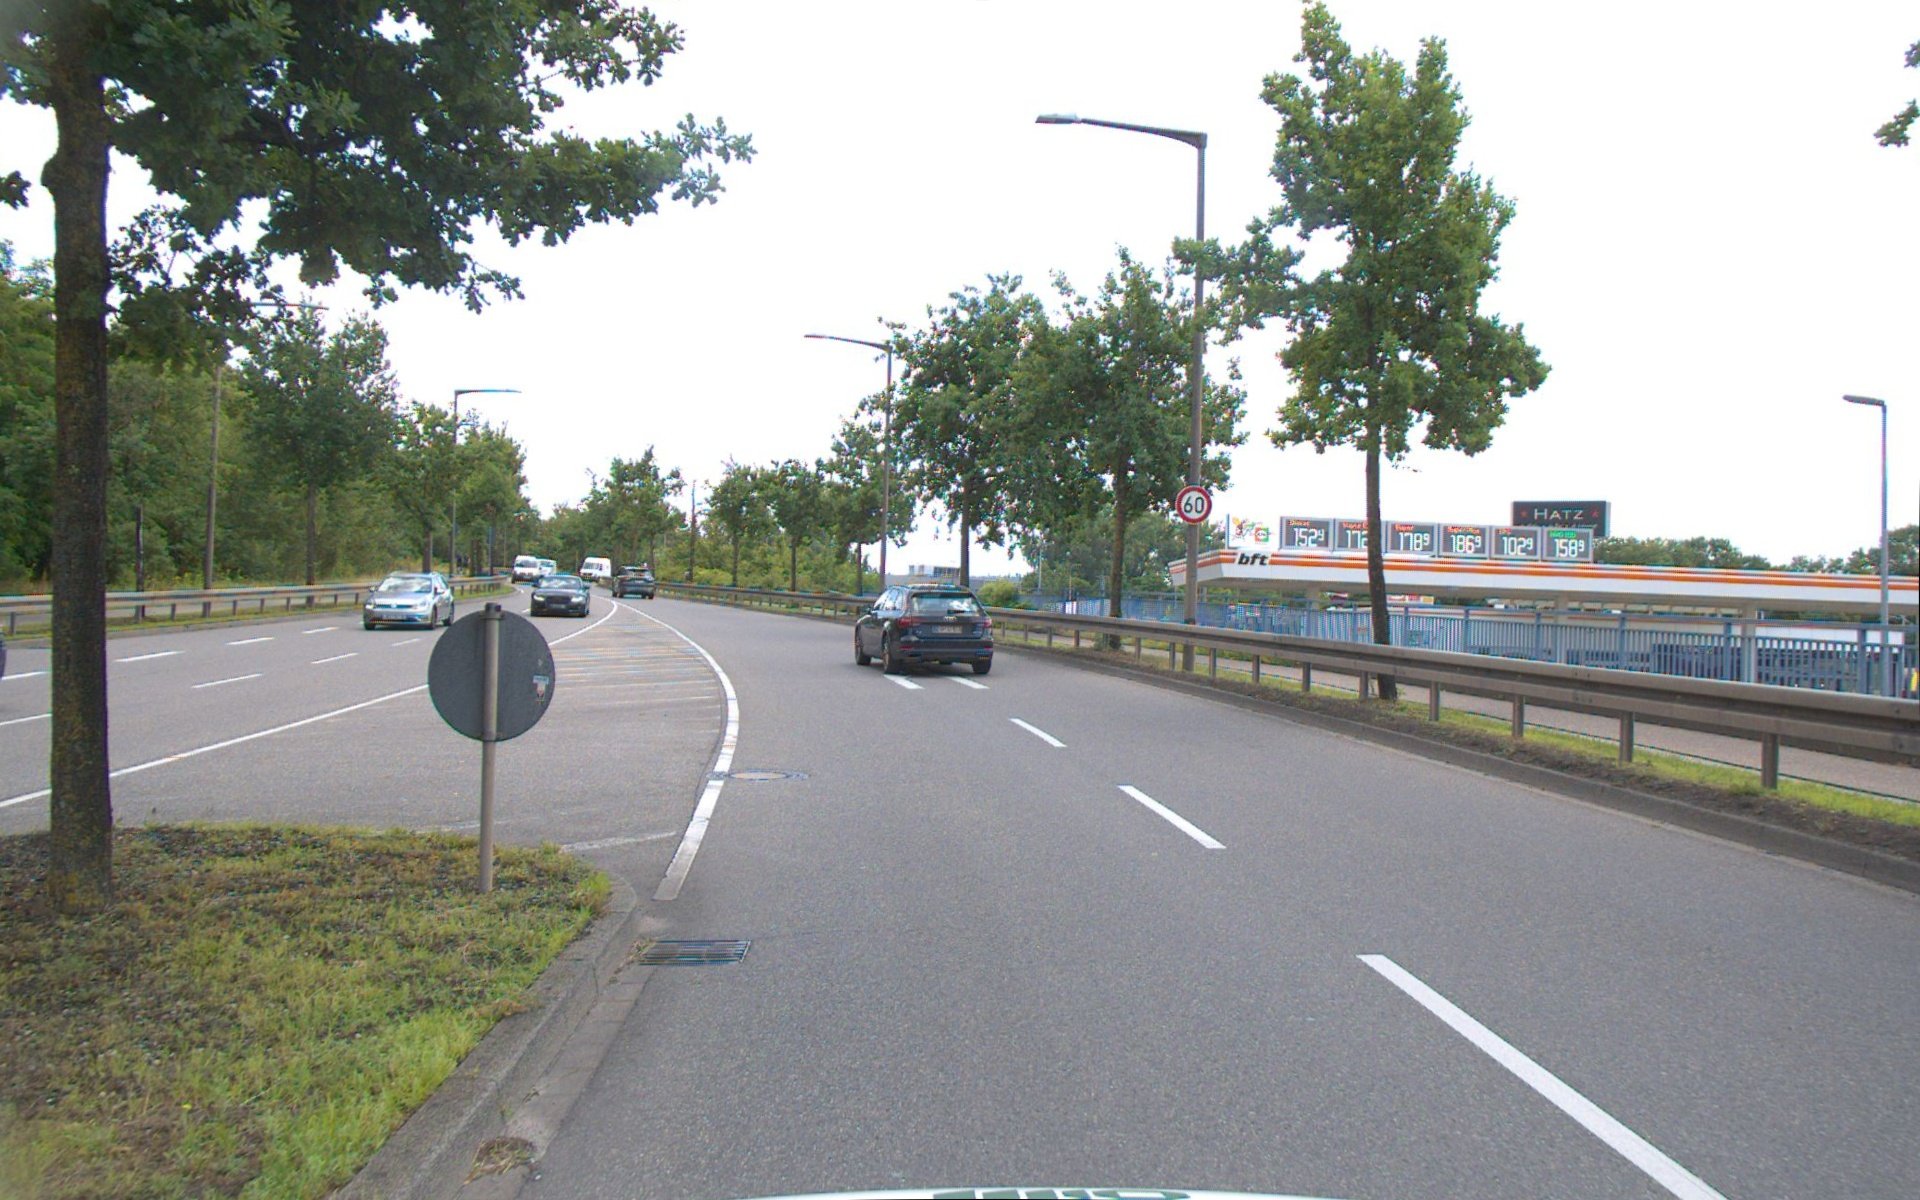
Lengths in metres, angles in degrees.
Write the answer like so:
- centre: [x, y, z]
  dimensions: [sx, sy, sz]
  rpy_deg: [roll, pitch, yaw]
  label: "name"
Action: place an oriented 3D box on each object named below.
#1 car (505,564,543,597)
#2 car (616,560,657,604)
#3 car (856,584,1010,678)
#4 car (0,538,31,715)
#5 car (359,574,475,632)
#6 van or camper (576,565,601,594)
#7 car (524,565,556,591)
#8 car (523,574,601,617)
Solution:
- centre: [-29.035, -1.331, 110.226]
  dimensions: [1.957, 2.048, 4.548]
  rpy_deg: [2, 1, -10]
  label: "car"
- centre: [-17.039, -0.924, 87.255]
  dimensions: [1.958, 2.073, 4.700]
  rpy_deg: [2, -2, -11]
  label: "car"
- centre: [-0.561, 0.484, 28.406]
  dimensions: [1.957, 1.415, 4.566]
  rpy_deg: [3, 0, -9]
  label: "car"
- centre: [-11.930, 0.337, 17.402]
  dimensions: [1.955, 2.048, 4.812]
  rpy_deg: [1, 2, -6]
  label: "car"
- centre: [-14.511, 0.034, 44.432]
  dimensions: [1.955, 1.420, 4.694]
  rpy_deg: [1, 1, -6]
  label: "car"
- centre: [-38.779, -2.100, 172.527]
  dimensions: [1.962, 2.798, 5.358]
  rpy_deg: [3, -1, -18]
  label: "van or camper"
- centre: [-38.211, -1.985, 150.375]
  dimensions: [1.967, 2.073, 4.676]
  rpy_deg: [2, -2, -24]
  label: "car"
- centre: [-13.526, -0.168, 56.390]
  dimensions: [1.866, 1.387, 4.571]
  rpy_deg: [-1, 0, -4]
  label: "car"
